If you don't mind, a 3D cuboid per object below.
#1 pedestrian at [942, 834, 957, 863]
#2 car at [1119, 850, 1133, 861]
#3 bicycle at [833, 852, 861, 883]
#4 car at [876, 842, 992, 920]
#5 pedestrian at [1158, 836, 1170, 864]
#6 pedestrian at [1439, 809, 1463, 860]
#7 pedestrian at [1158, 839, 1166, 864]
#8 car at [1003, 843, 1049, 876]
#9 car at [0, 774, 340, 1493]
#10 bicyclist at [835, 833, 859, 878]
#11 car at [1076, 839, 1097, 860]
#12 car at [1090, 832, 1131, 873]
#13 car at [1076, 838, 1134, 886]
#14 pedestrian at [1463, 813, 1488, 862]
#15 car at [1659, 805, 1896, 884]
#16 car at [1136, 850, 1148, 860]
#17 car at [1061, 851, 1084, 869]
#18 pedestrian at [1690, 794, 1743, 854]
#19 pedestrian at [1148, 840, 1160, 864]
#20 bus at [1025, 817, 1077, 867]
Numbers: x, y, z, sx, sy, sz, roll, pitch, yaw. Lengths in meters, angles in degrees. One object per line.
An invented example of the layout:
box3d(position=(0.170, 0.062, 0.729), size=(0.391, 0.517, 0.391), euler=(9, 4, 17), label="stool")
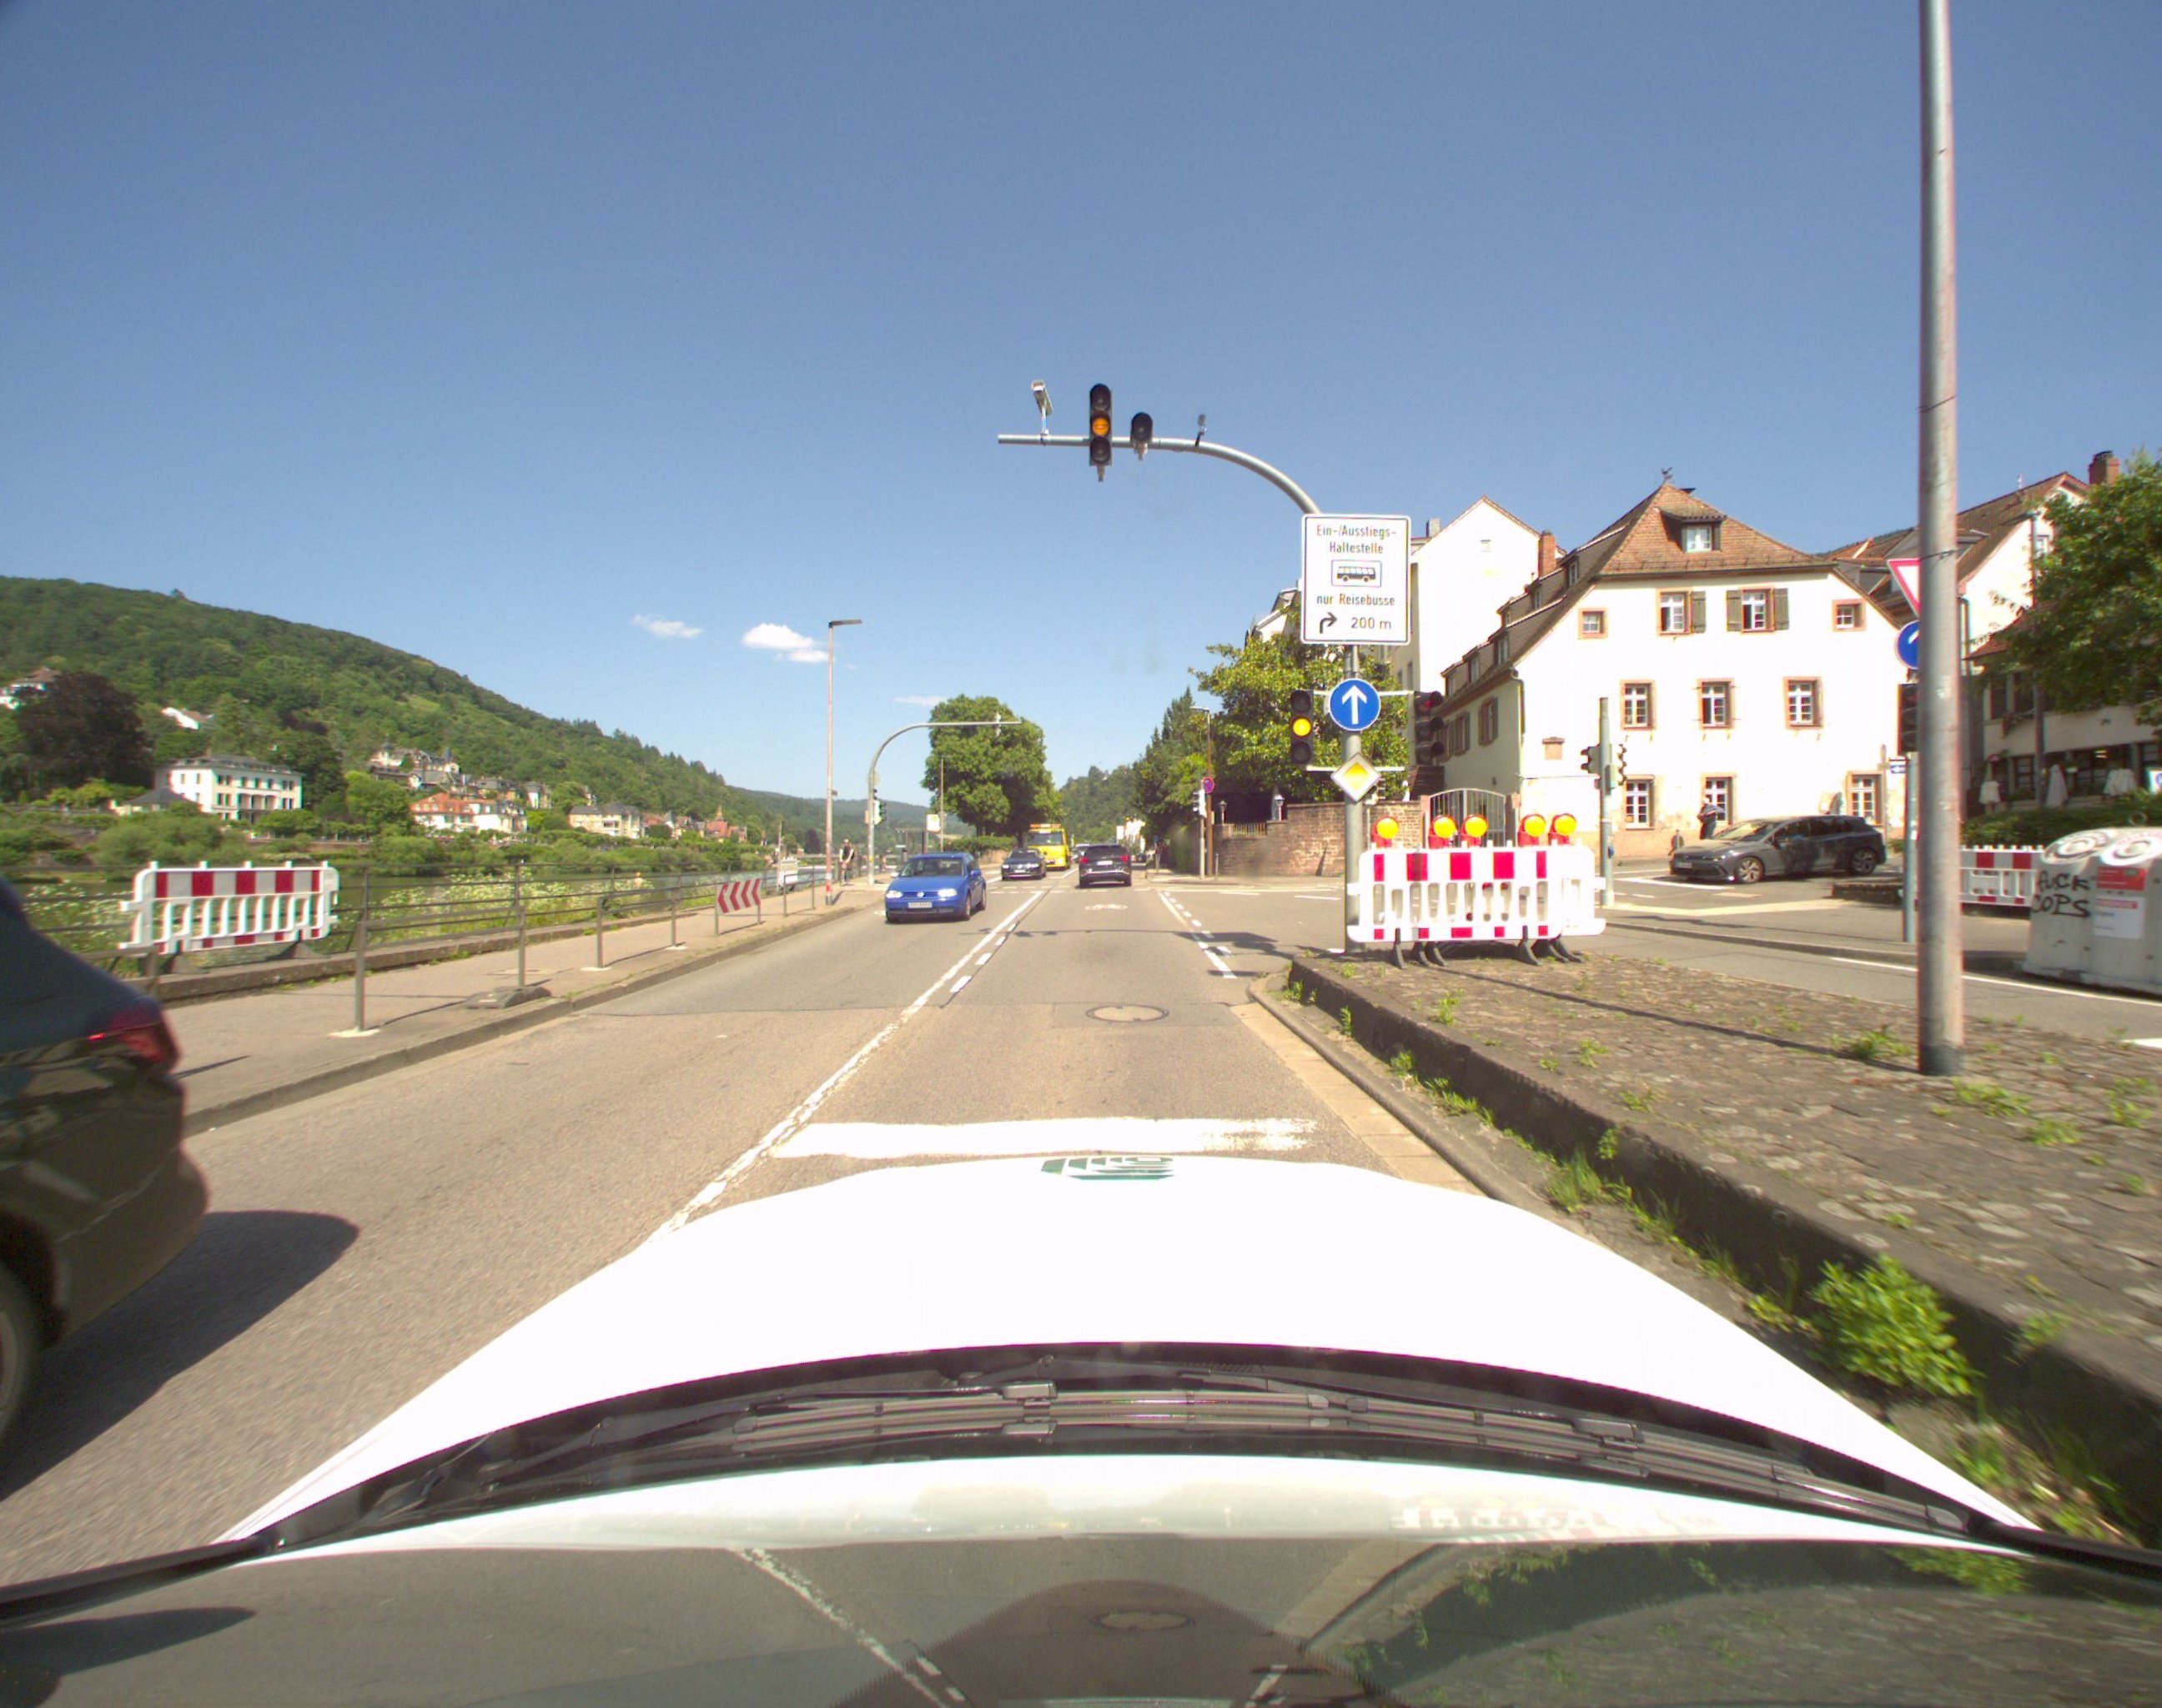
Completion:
box3d(position=(-8.740, -0.365, 54.074), size=(0.750, 1.918, 1.010), euler=(-1, -2, 3), label="pedestrian")
box3d(position=(6.063, 0.185, 108.628), size=(1.787, 1.481, 4.004), euler=(0, 1, 4), label="car")
box3d(position=(-8.810, 0.495, 30.708), size=(0.666, 1.113, 2.029), euler=(-2, 0, -7), label="bicycle")
box3d(position=(-3.150, 0.522, 18.303), size=(1.723, 1.490, 4.326), euler=(-2, 0, 1), label="car")
box3d(position=(5.144, -0.243, 50.487), size=(0.678, 1.742, 0.914), euler=(0, 1, 3), label="pedestrian")
box3d(position=(12.786, -0.665, 28.136), size=(0.716, 1.705, 0.712), euler=(-1, 0, 25), label="pedestrian")
box3d(position=(5.199, -0.144, 52.038), size=(0.453, 1.606, 0.580), euler=(-1, 0, 3), label="pedestrian")
box3d(position=(-2.556, 0.222, 38.621), size=(1.802, 1.406, 4.357), euler=(-1, 1, 1), label="car")
box3d(position=(-3.502, 0.686, 0.528), size=(1.856, 1.681, 4.455), euler=(-2, 0, 1), label="car")
box3d(position=(-8.812, 0.051, 30.660), size=(0.666, 1.631, 0.977), euler=(-1, 0, -7), label="bicyclist")
box3d(position=(0.647, -0.529, 95.356), size=(2.087, 2.302, 5.874), euler=(-1, 1, 3), label="car")
box3d(position=(1.541, -0.066, 42.667), size=(1.986, 2.014, 4.001), euler=(-1, -1, 2), label="car")
box3d(position=(0.800, 0.250, 28.881), size=(1.851, 1.524, 4.000), euler=(-2, 0, 0), label="car")
box3d(position=(13.975, -0.577, 28.826), size=(0.699, 1.705, 0.730), euler=(-1, 0, 30), label="pedestrian")
box3d(position=(16.131, -0.267, 19.023), size=(3.974, 1.485, 1.862), euler=(-4, 4, 0), label="car")
box3d(position=(10.358, 0.165, 138.577), size=(1.985, 1.453, 4.012), euler=(-1, -1, 4), label="car")
box3d(position=(-0.735, 0.507, 73.035), size=(1.808, 1.398, 4.350), euler=(-1, 1, 3), label="car")
box3d(position=(19.788, -0.929, 25.387), size=(0.919, 1.793, 0.865), euler=(-4, 1, 4), label="pedestrian")
box3d(position=(5.277, -0.144, 58.946), size=(0.725, 1.650, 0.883), euler=(-3, 0, 4), label="pedestrian")
box3d(position=(-1.788, -0.760, 52.327), size=(2.587, 2.896, 8.453), euler=(-1, 1, 2), label="bus")
